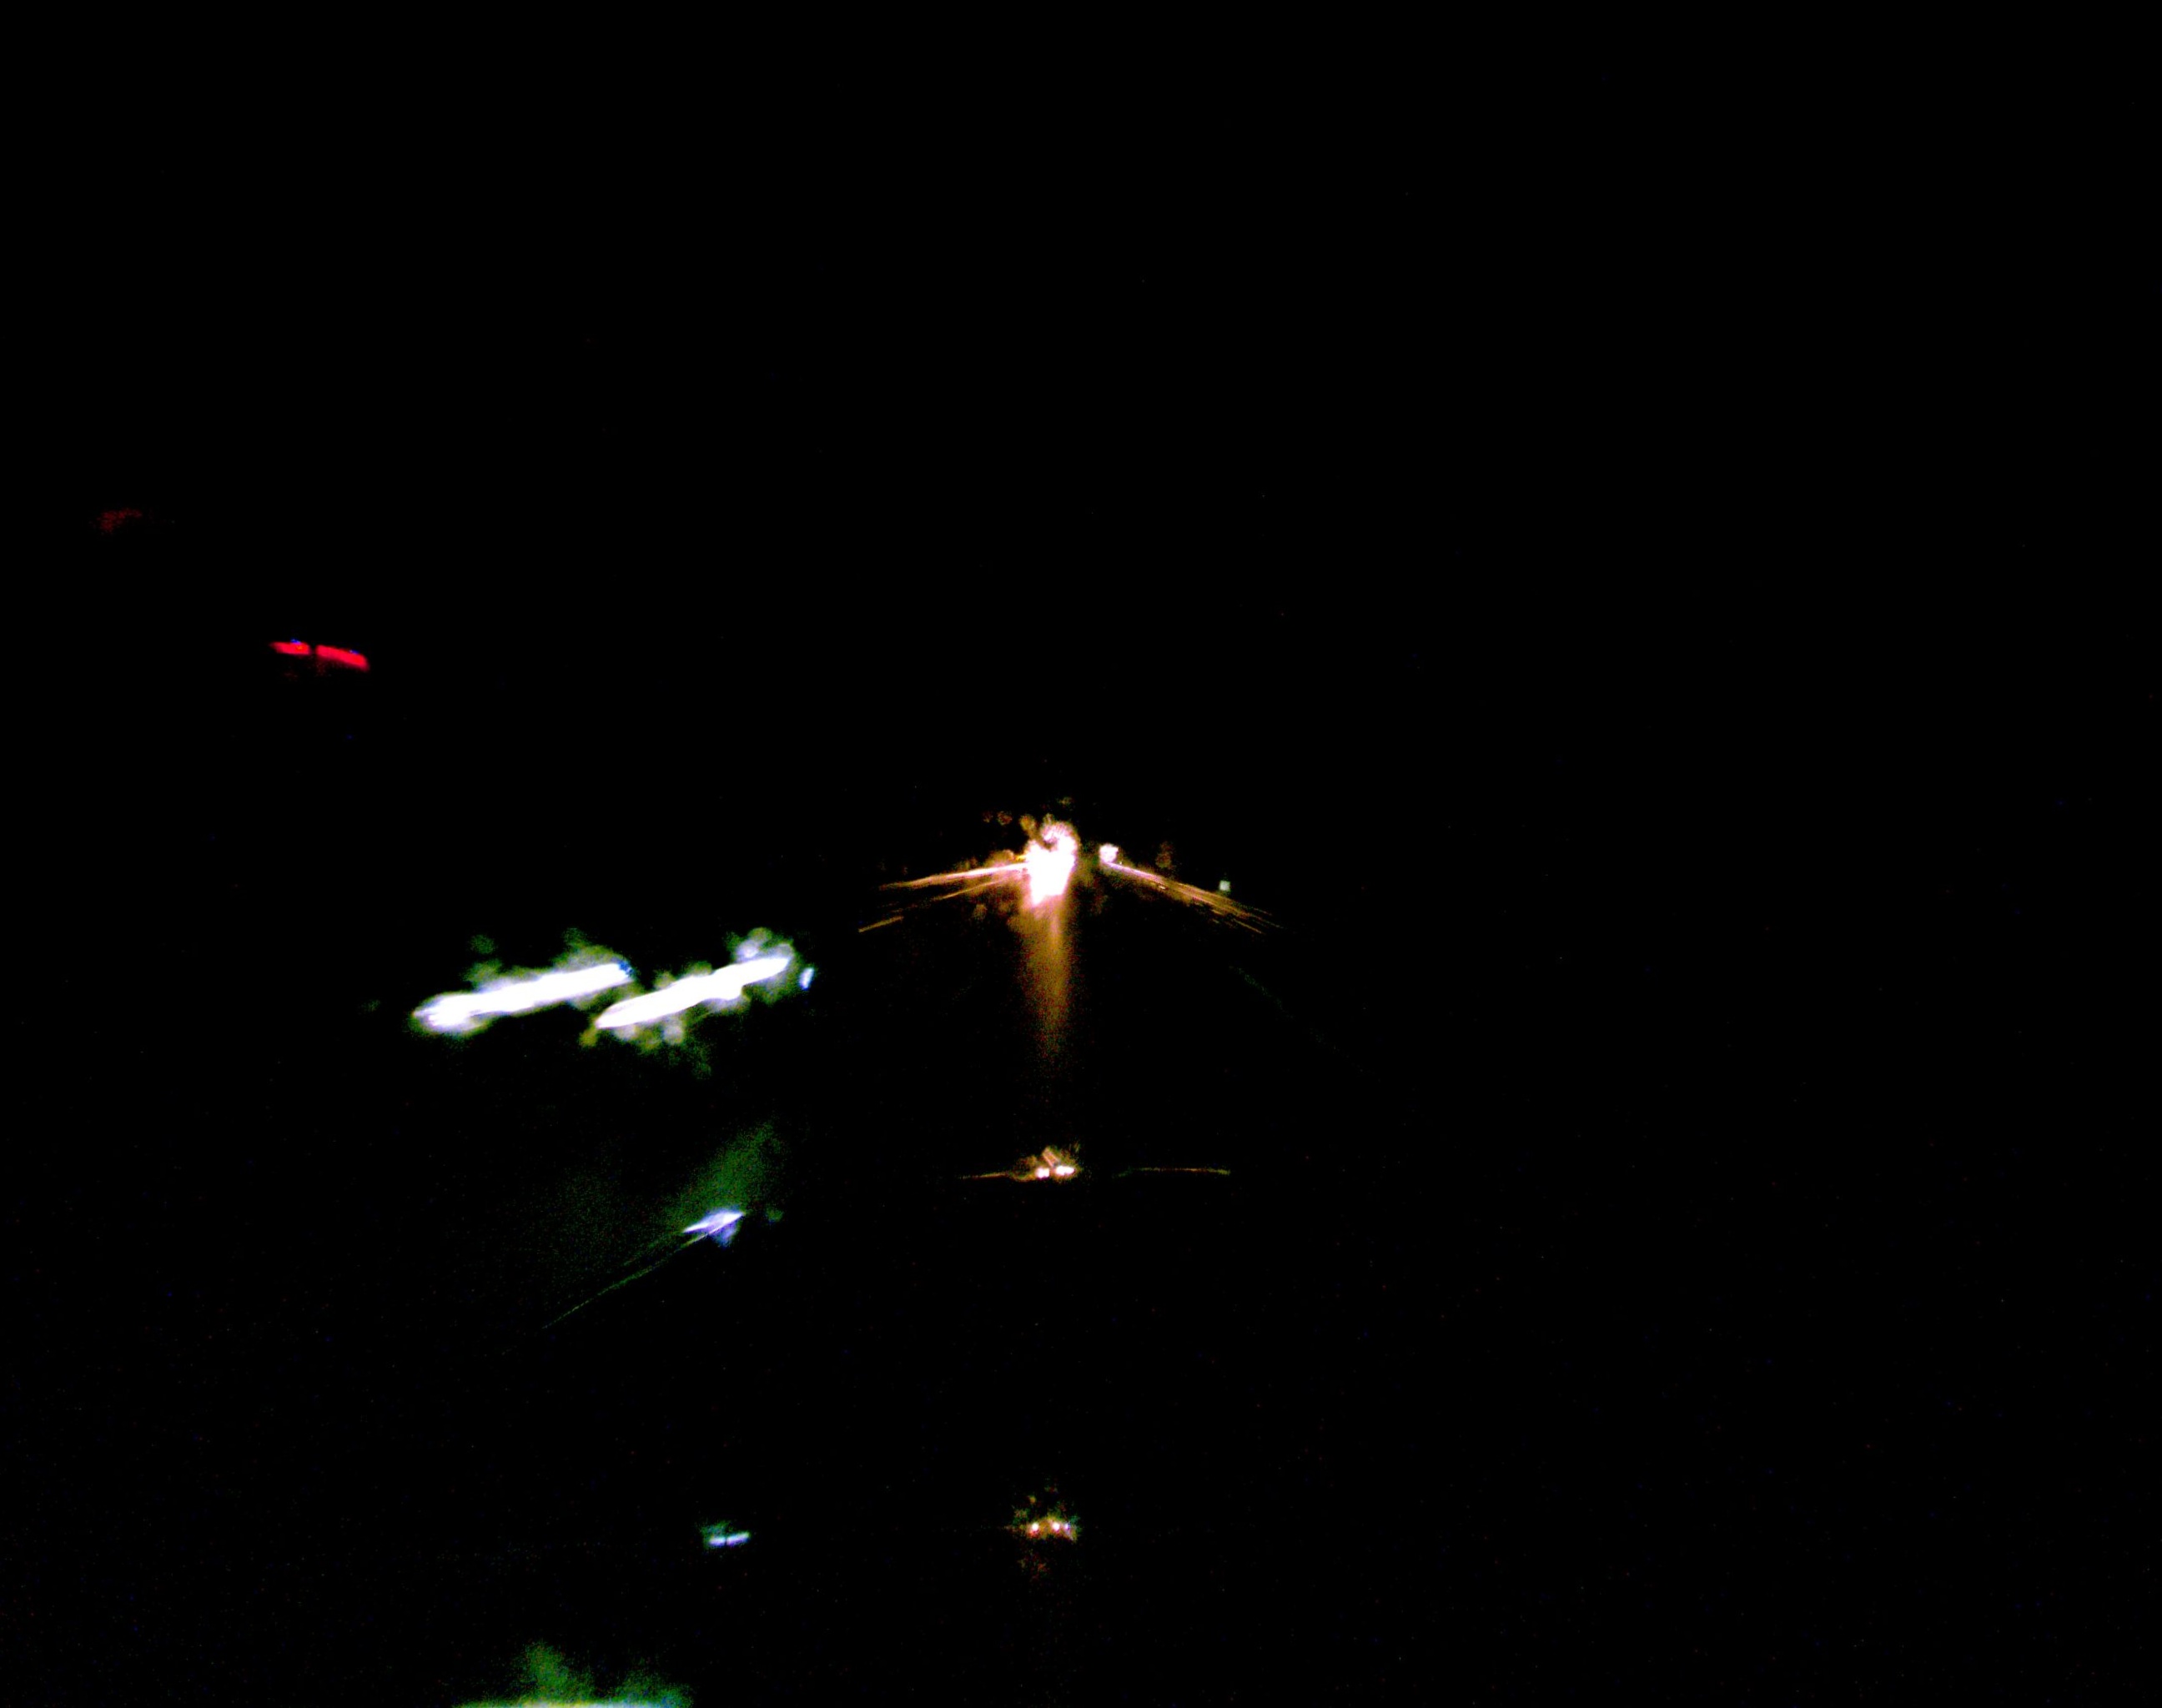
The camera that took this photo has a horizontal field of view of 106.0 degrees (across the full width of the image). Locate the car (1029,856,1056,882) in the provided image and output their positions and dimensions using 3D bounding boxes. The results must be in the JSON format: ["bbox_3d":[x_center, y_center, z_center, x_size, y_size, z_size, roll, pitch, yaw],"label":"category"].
[{"bbox_3d":[-2.944,1.132,63.188,1.827,1.871,4.428,-1,0,0],"label":"car"}]

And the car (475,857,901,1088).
[{"bbox_3d":[-3.027,0.784,7.379,1.826,1.483,4.070,-1,0,1],"label":"car"}]
